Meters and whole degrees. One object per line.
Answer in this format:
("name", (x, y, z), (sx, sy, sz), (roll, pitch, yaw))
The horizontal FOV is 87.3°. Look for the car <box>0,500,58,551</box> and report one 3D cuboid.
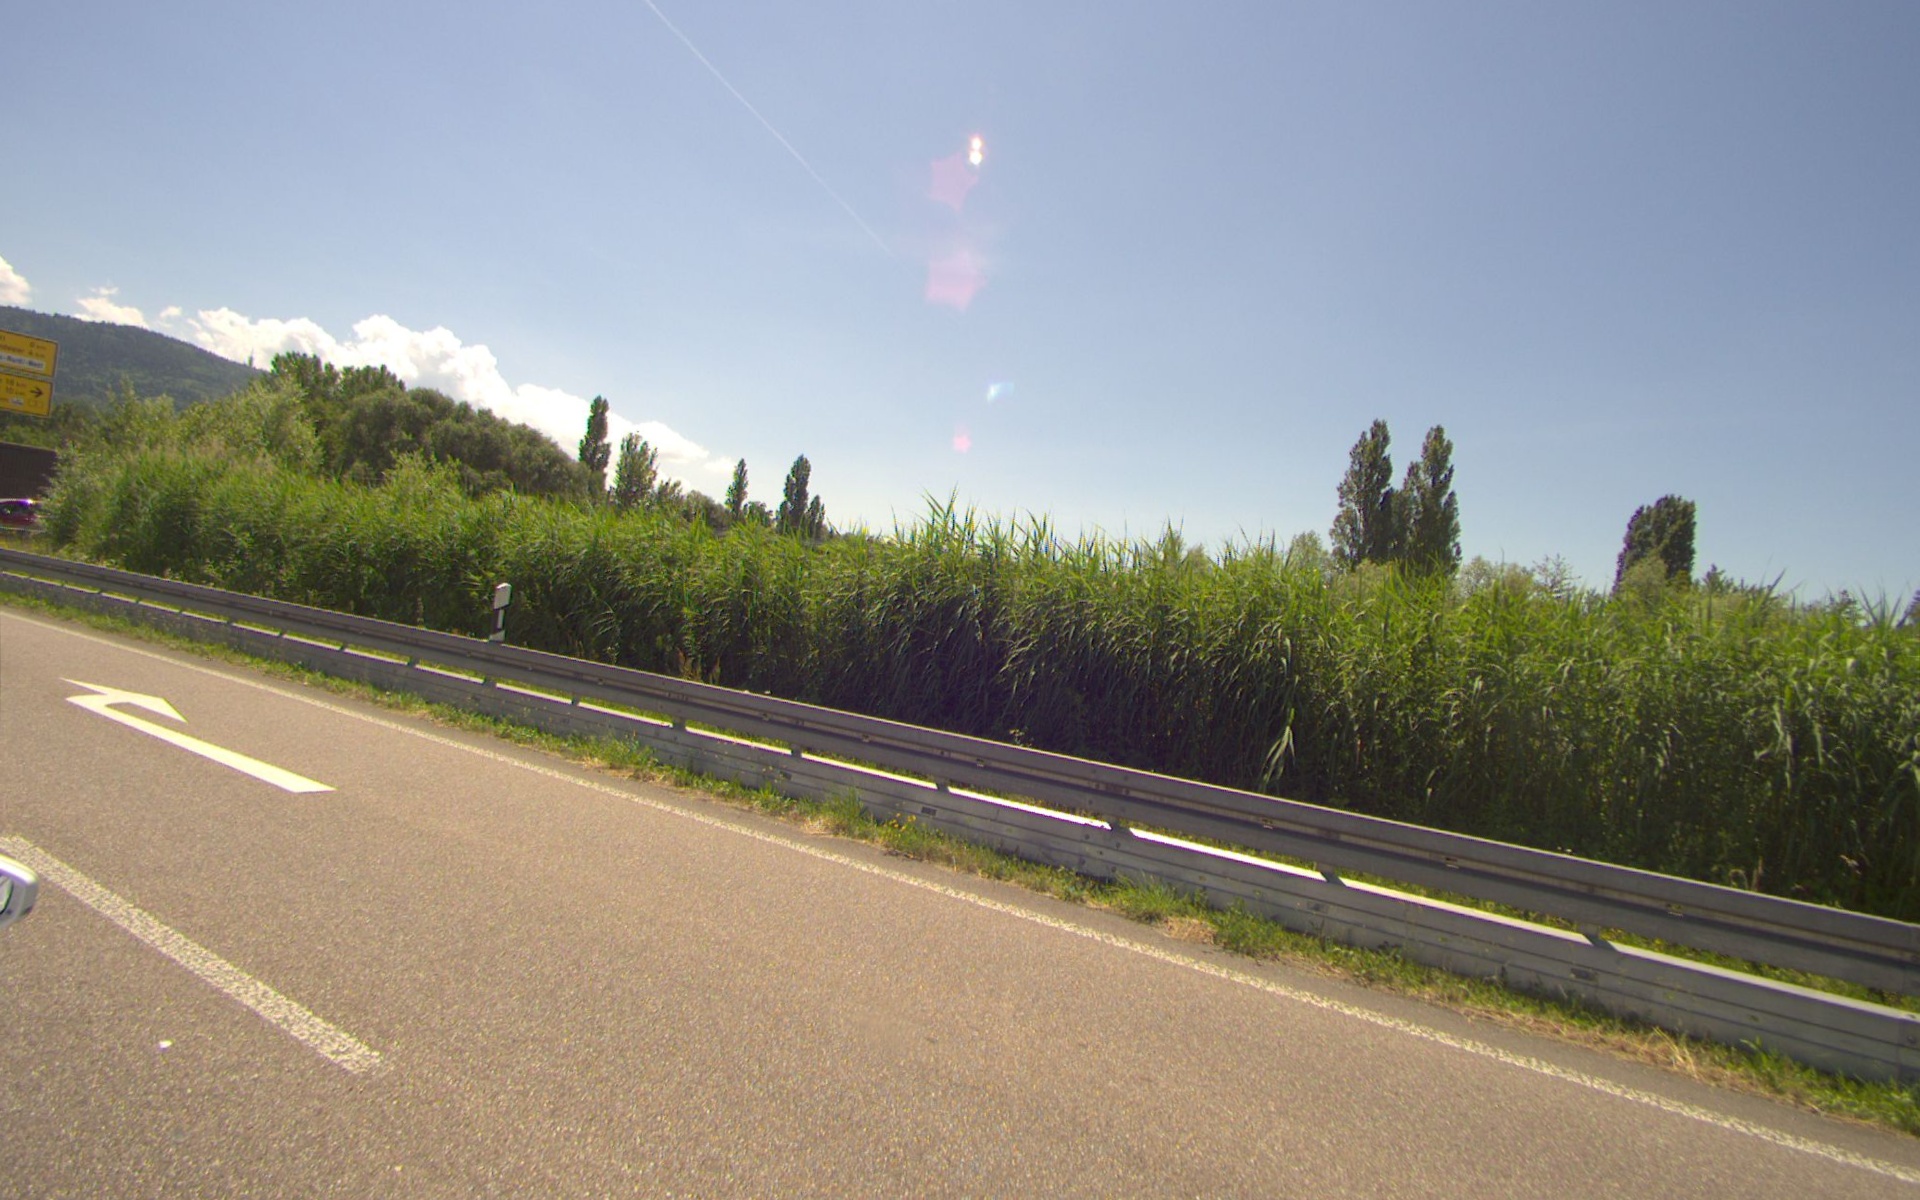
("car", (-36.331, -2.983, 36.902), (1.966, 1.676, 4.320), (7, -2, 28))
